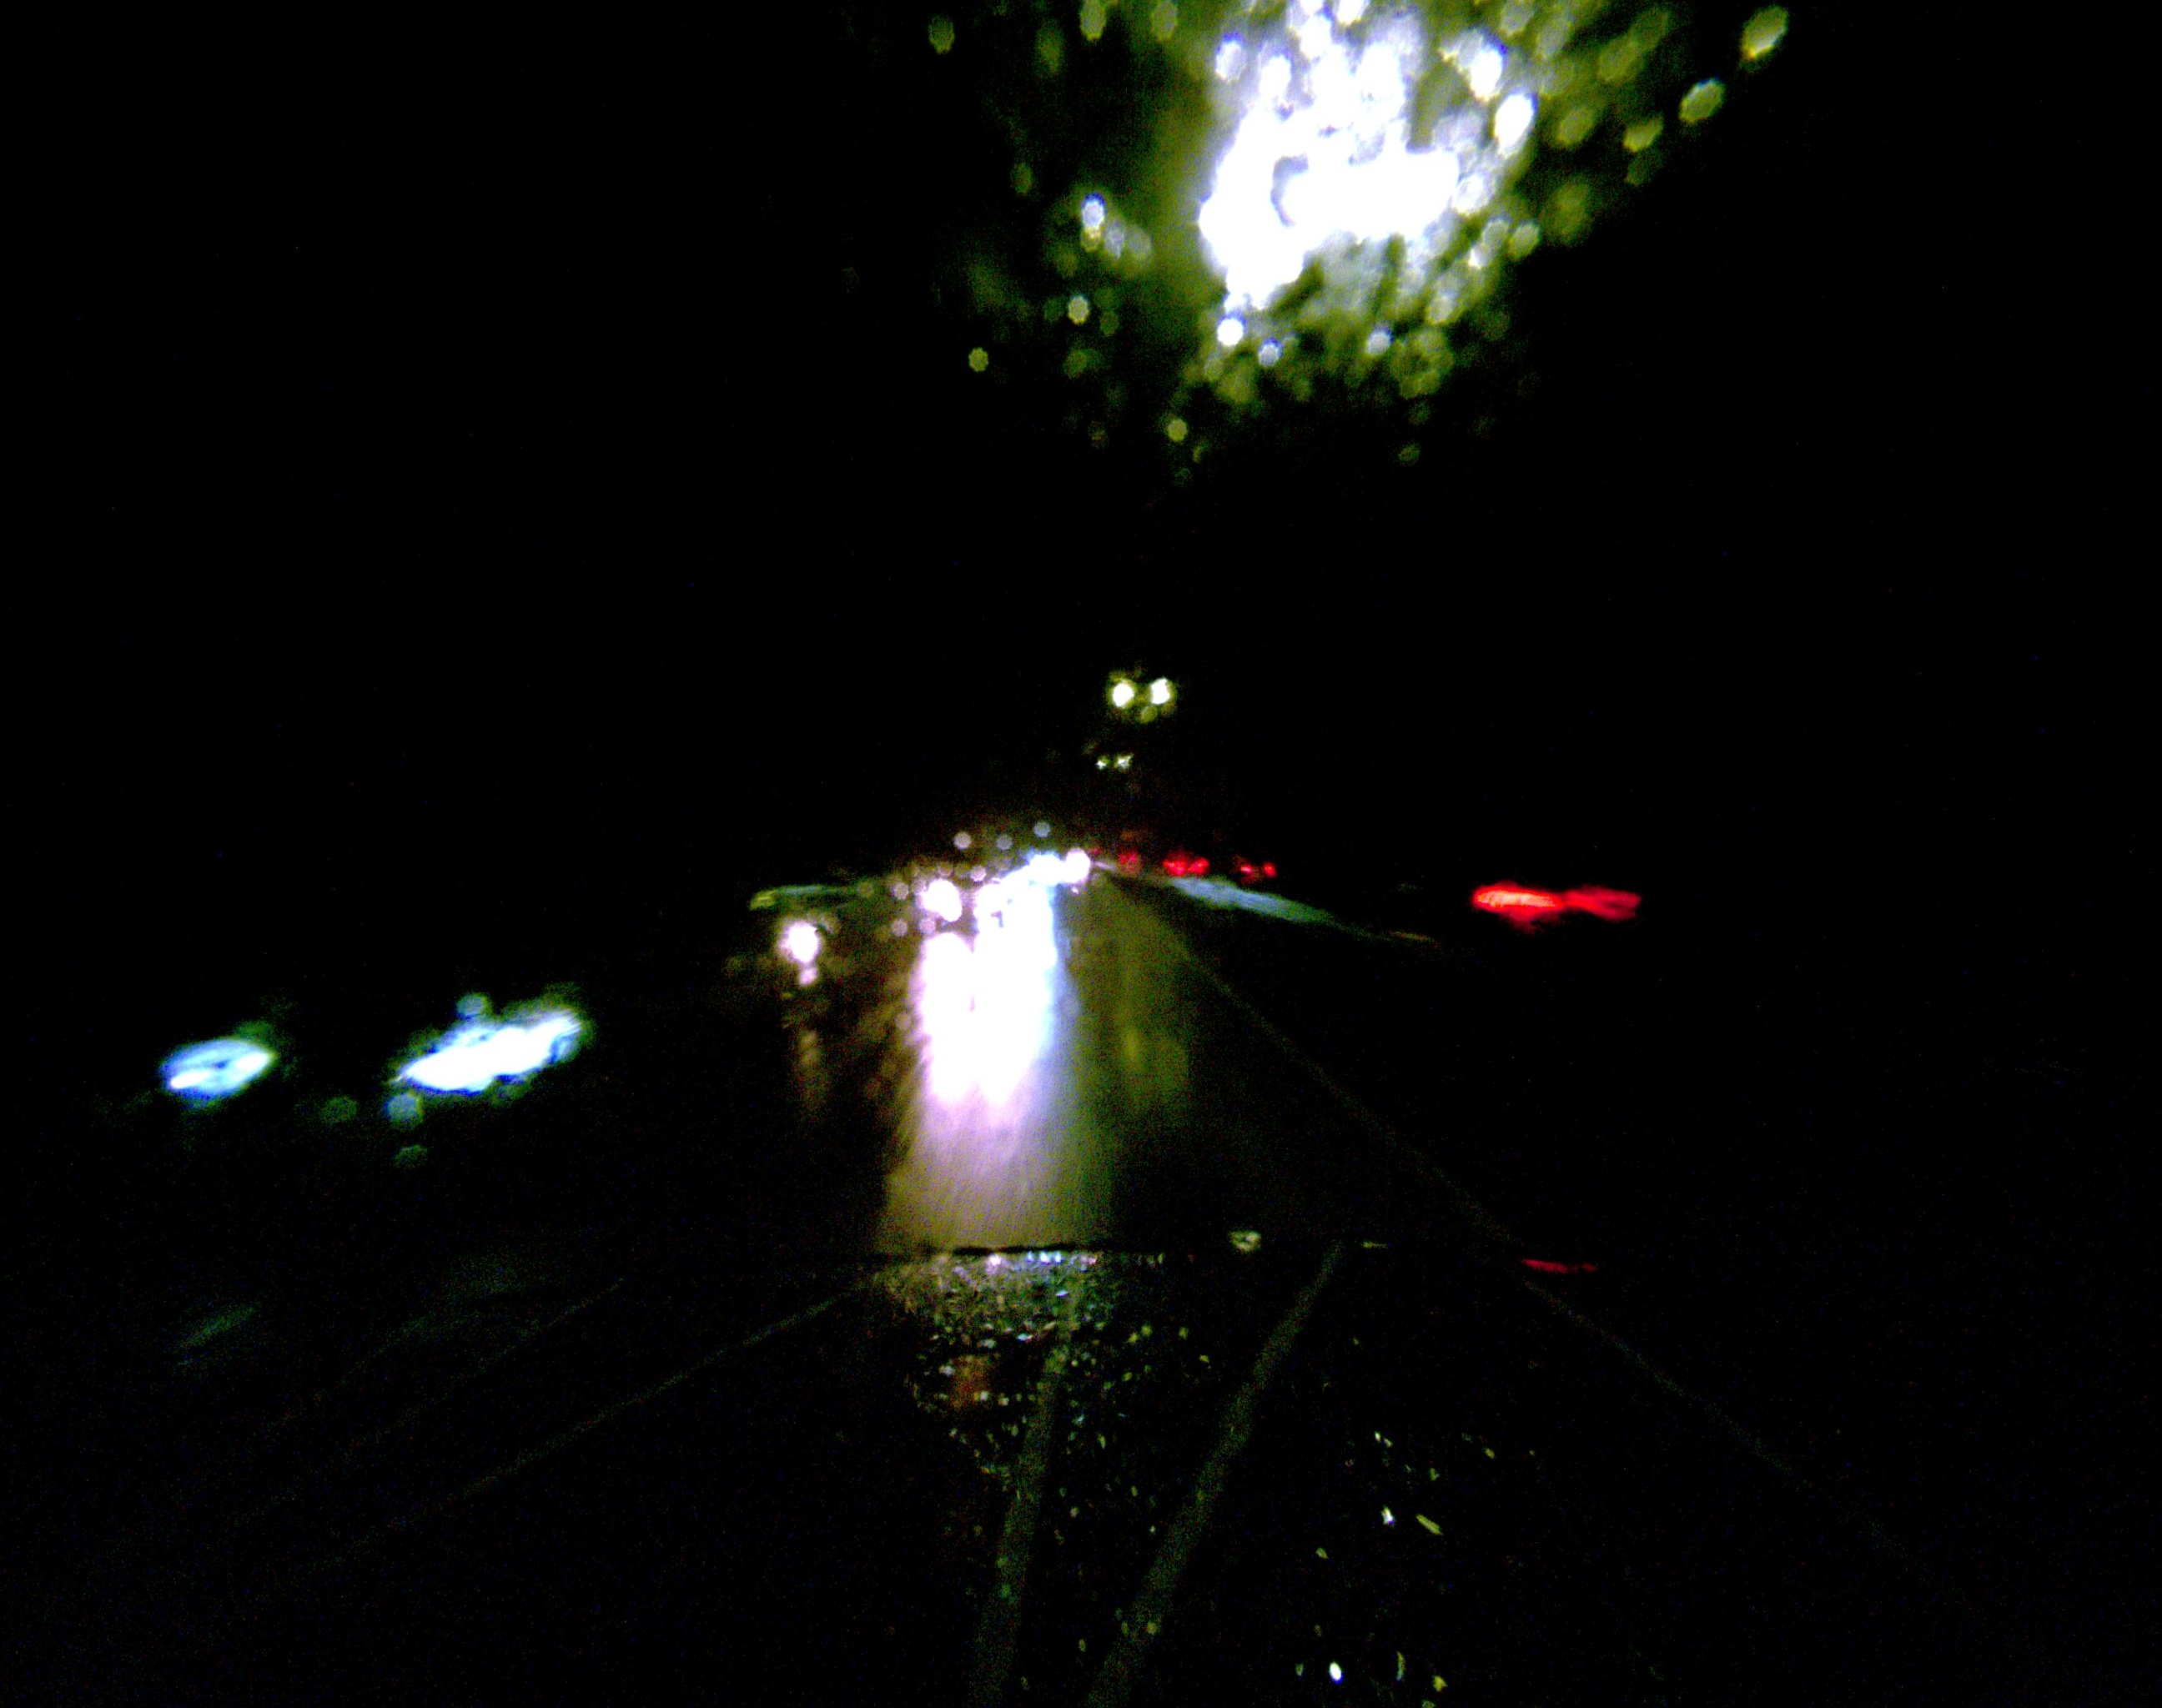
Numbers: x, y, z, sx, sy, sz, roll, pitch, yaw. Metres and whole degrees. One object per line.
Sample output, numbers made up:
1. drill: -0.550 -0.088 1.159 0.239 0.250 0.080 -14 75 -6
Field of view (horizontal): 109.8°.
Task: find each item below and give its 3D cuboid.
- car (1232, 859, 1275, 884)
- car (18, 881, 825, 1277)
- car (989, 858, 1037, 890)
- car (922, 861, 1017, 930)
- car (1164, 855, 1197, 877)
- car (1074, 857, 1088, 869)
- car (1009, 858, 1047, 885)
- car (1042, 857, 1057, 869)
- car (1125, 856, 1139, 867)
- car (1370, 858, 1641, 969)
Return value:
1. car: 10.336 1.039 45.740 1.614 1.373 4.164 1 0 0
2. car: -3.575 1.044 5.522 1.826 1.476 4.567 -1 0 0
3. car: -3.411 0.987 38.753 1.998 1.455 4.000 -1 0 0
4. car: -2.709 0.967 19.365 1.764 1.492 4.000 -2 0 0
5. car: 6.642 0.780 51.032 1.614 1.373 4.746 -1 0 0
6. car: -0.072 1.385 122.150 1.999 1.774 3.999 -2 1 -2
7. car: -3.239 1.022 46.897 1.998 1.531 4.000 -1 0 0
8. car: -4.587 1.306 111.614 1.999 1.657 3.999 0 0 -1
9. car: 7.460 1.039 111.757 1.756 1.543 4.009 -1 0 0
10. car: 6.712 0.829 12.773 1.860 1.467 4.778 -1 0 0
